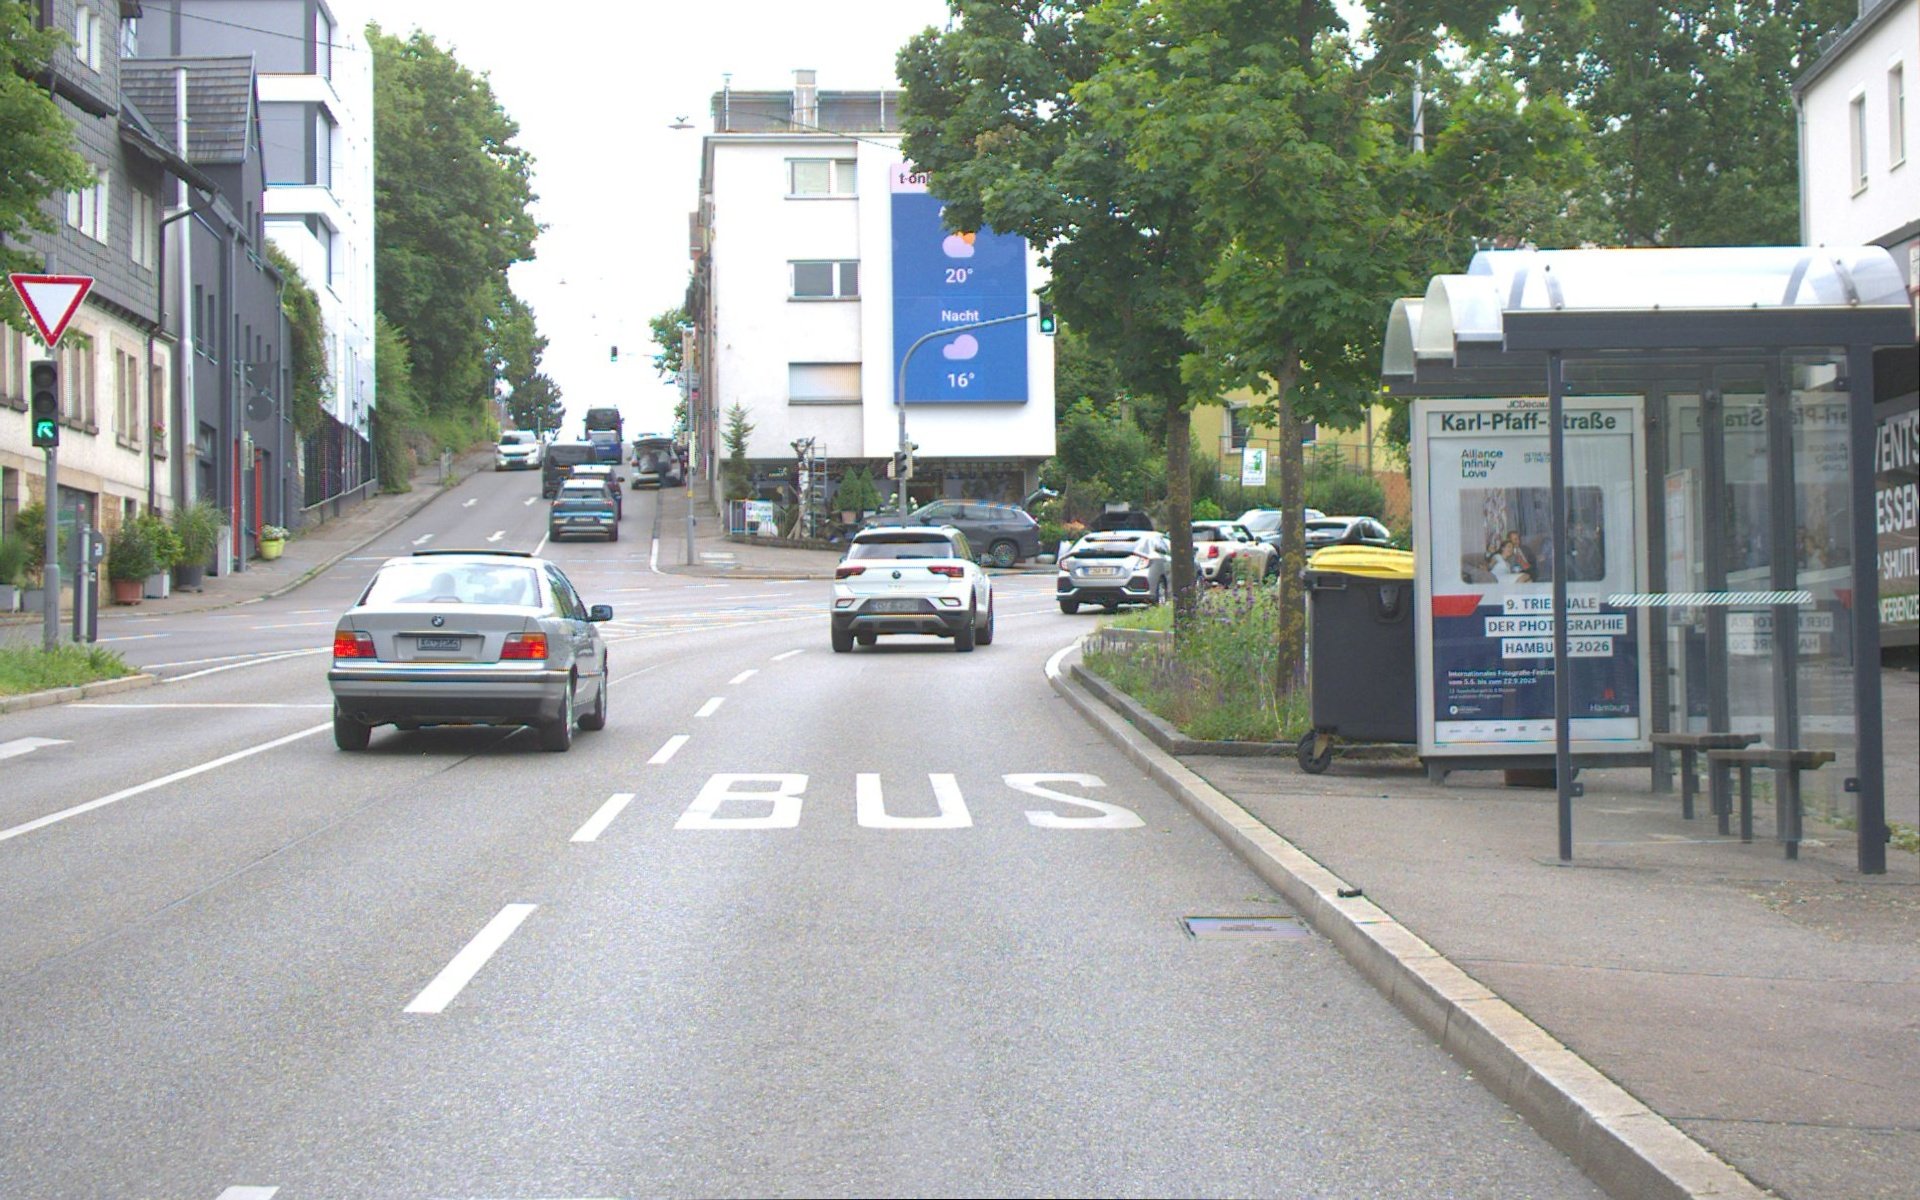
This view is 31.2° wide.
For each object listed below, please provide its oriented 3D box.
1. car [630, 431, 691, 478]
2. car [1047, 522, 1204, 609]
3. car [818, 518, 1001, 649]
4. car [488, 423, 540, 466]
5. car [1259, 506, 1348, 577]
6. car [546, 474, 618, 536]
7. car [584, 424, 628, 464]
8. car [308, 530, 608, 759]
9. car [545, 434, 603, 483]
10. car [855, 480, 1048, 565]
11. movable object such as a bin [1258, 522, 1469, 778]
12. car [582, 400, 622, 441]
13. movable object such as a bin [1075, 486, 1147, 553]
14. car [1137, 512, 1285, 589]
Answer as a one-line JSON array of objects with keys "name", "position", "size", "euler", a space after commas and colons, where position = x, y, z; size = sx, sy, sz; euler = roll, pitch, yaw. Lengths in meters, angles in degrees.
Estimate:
[{"name": "car", "position": [-10.669, -5.183, 122.719], "size": [2.089, 1.607, 4.001], "euler": [0, 2, -4]}, {"name": "car", "position": [2.952, -0.633, 60.447], "size": [1.781, 1.405, 3.997], "euler": [1, 2, 18]}, {"name": "car", "position": [-0.594, -0.247, 43.900], "size": [1.780, 1.573, 3.999], "euler": [0, 2, 7]}, {"name": "car", "position": [-18.185, -6.356, 140.346], "size": [1.882, 1.562, 4.391], "euler": [-1, 4, -5]}, {"name": "car", "position": [7.202, -1.247, 71.935], "size": [1.794, 1.405, 3.999], "euler": [1, 2, 6]}, {"name": "car", "position": [-10.029, -2.540, 91.382], "size": [1.779, 1.573, 4.001], "euler": [0, 2, -5]}, {"name": "car", "position": [-14.982, -6.605, 145.604], "size": [1.779, 1.573, 4.001], "euler": [0, 1, -5]}, {"name": "car", "position": [-3.560, 0.260, 24.994], "size": [1.706, 1.459, 4.001], "euler": [1, 2, -2]}, {"name": "car", "position": [-12.983, -4.747, 115.682], "size": [1.779, 1.573, 4.001], "euler": [-1, 2, -5]}, {"name": "car", "position": [-0.252, -2.004, 88.226], "size": [4.687, 1.706, 2.319], "euler": [4, 4, -4]}, {"name": "movable object such as a bin", "position": [2.412, 0.275, 20.736], "size": [1.085, 1.476, 1.537], "euler": [0, 2, 0]}, {"name": "car", "position": [-18.536, -9.278, 178.018], "size": [1.993, 2.006, 4.001], "euler": [0, 2, -5]}, {"name": "movable object such as a bin", "position": [4.076, -2.174, 92.674], "size": [1.763, 1.773, 1.854], "euler": [0, 2, 9]}, {"name": "car", "position": [5.353, -1.079, 72.975], "size": [1.782, 1.573, 3.995], "euler": [1, 2, 26]}]
